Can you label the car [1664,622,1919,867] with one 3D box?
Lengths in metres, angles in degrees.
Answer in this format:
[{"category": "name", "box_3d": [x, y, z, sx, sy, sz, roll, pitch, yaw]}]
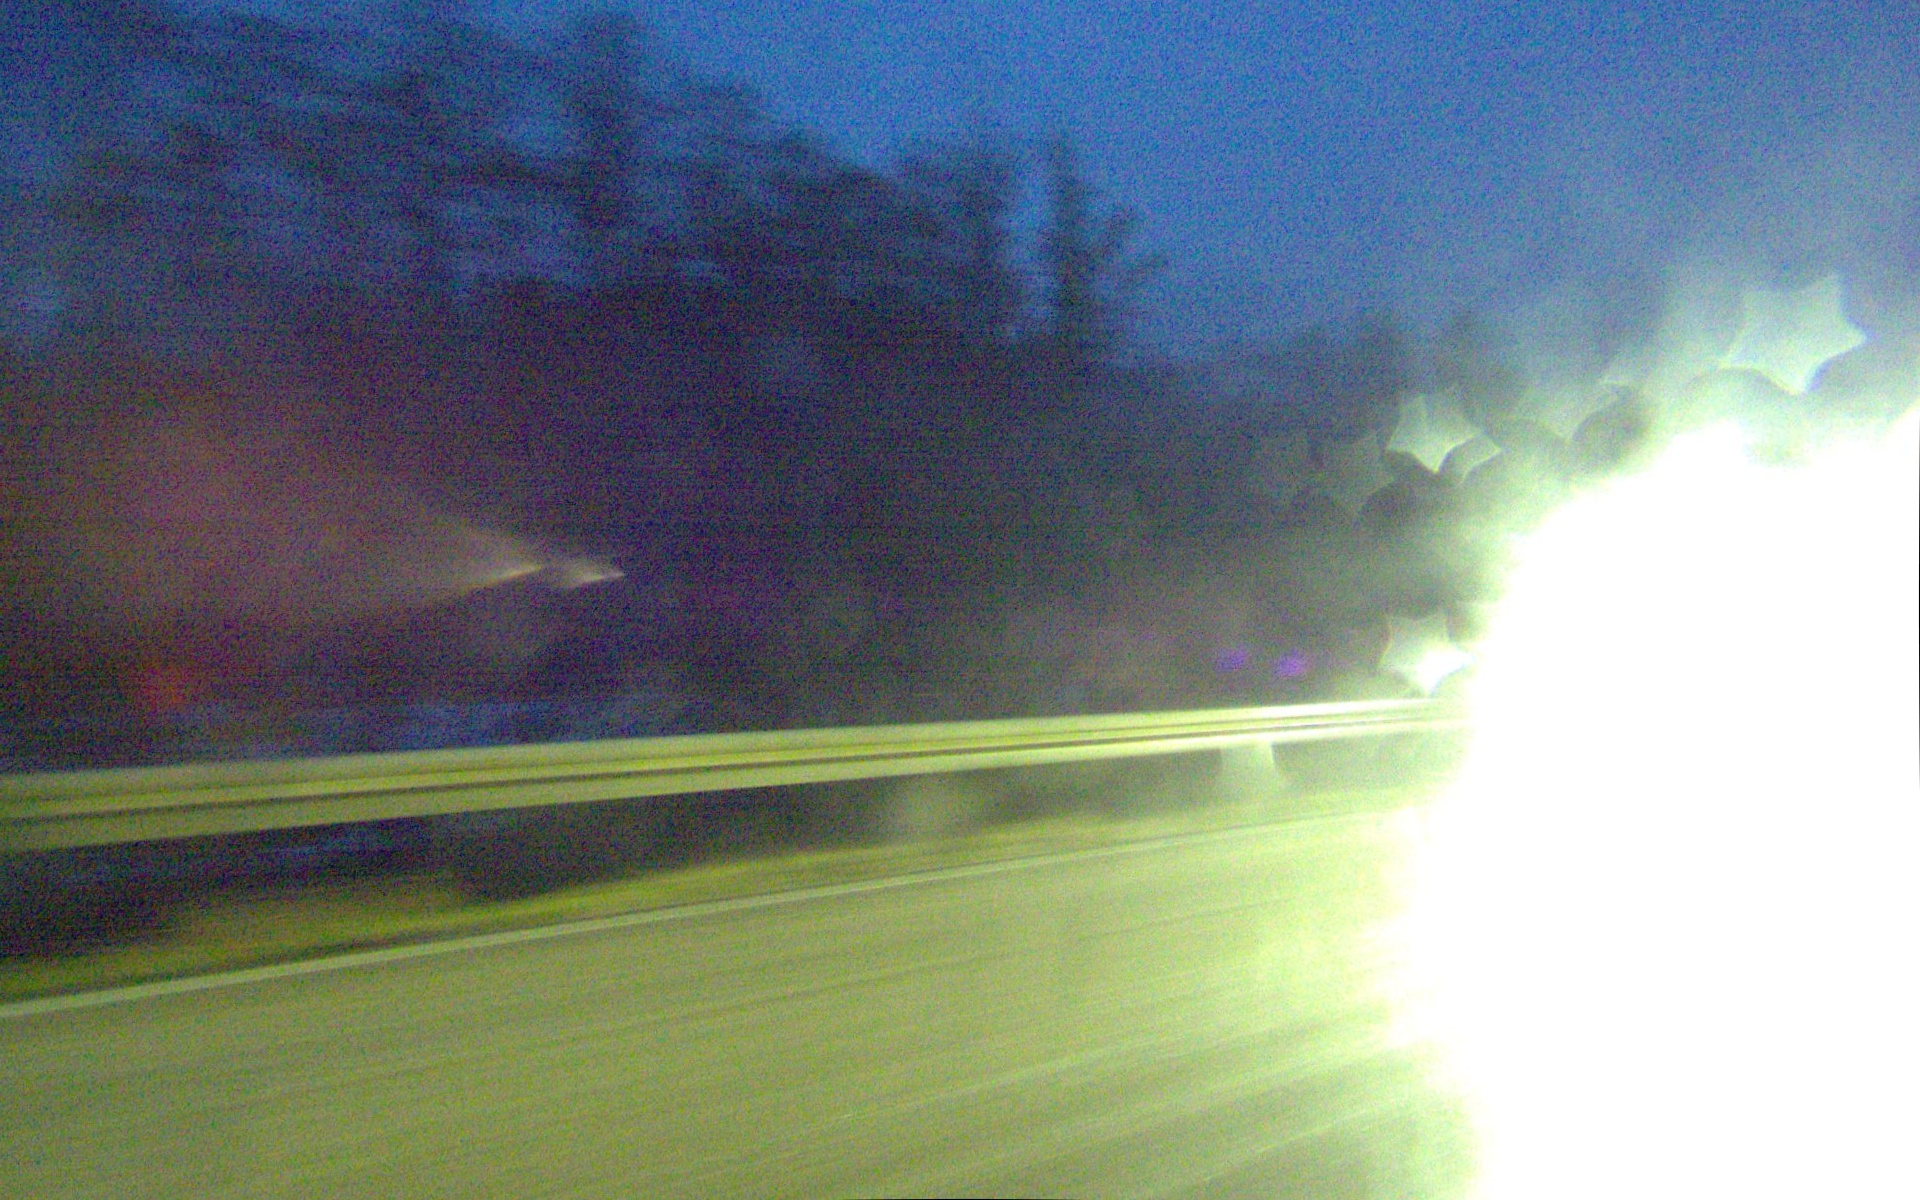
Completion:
[{"category": "car", "box_3d": [7.246, 0.932, 7.656, 4.078, 1.444, 1.635, 1, 0, -32]}]
